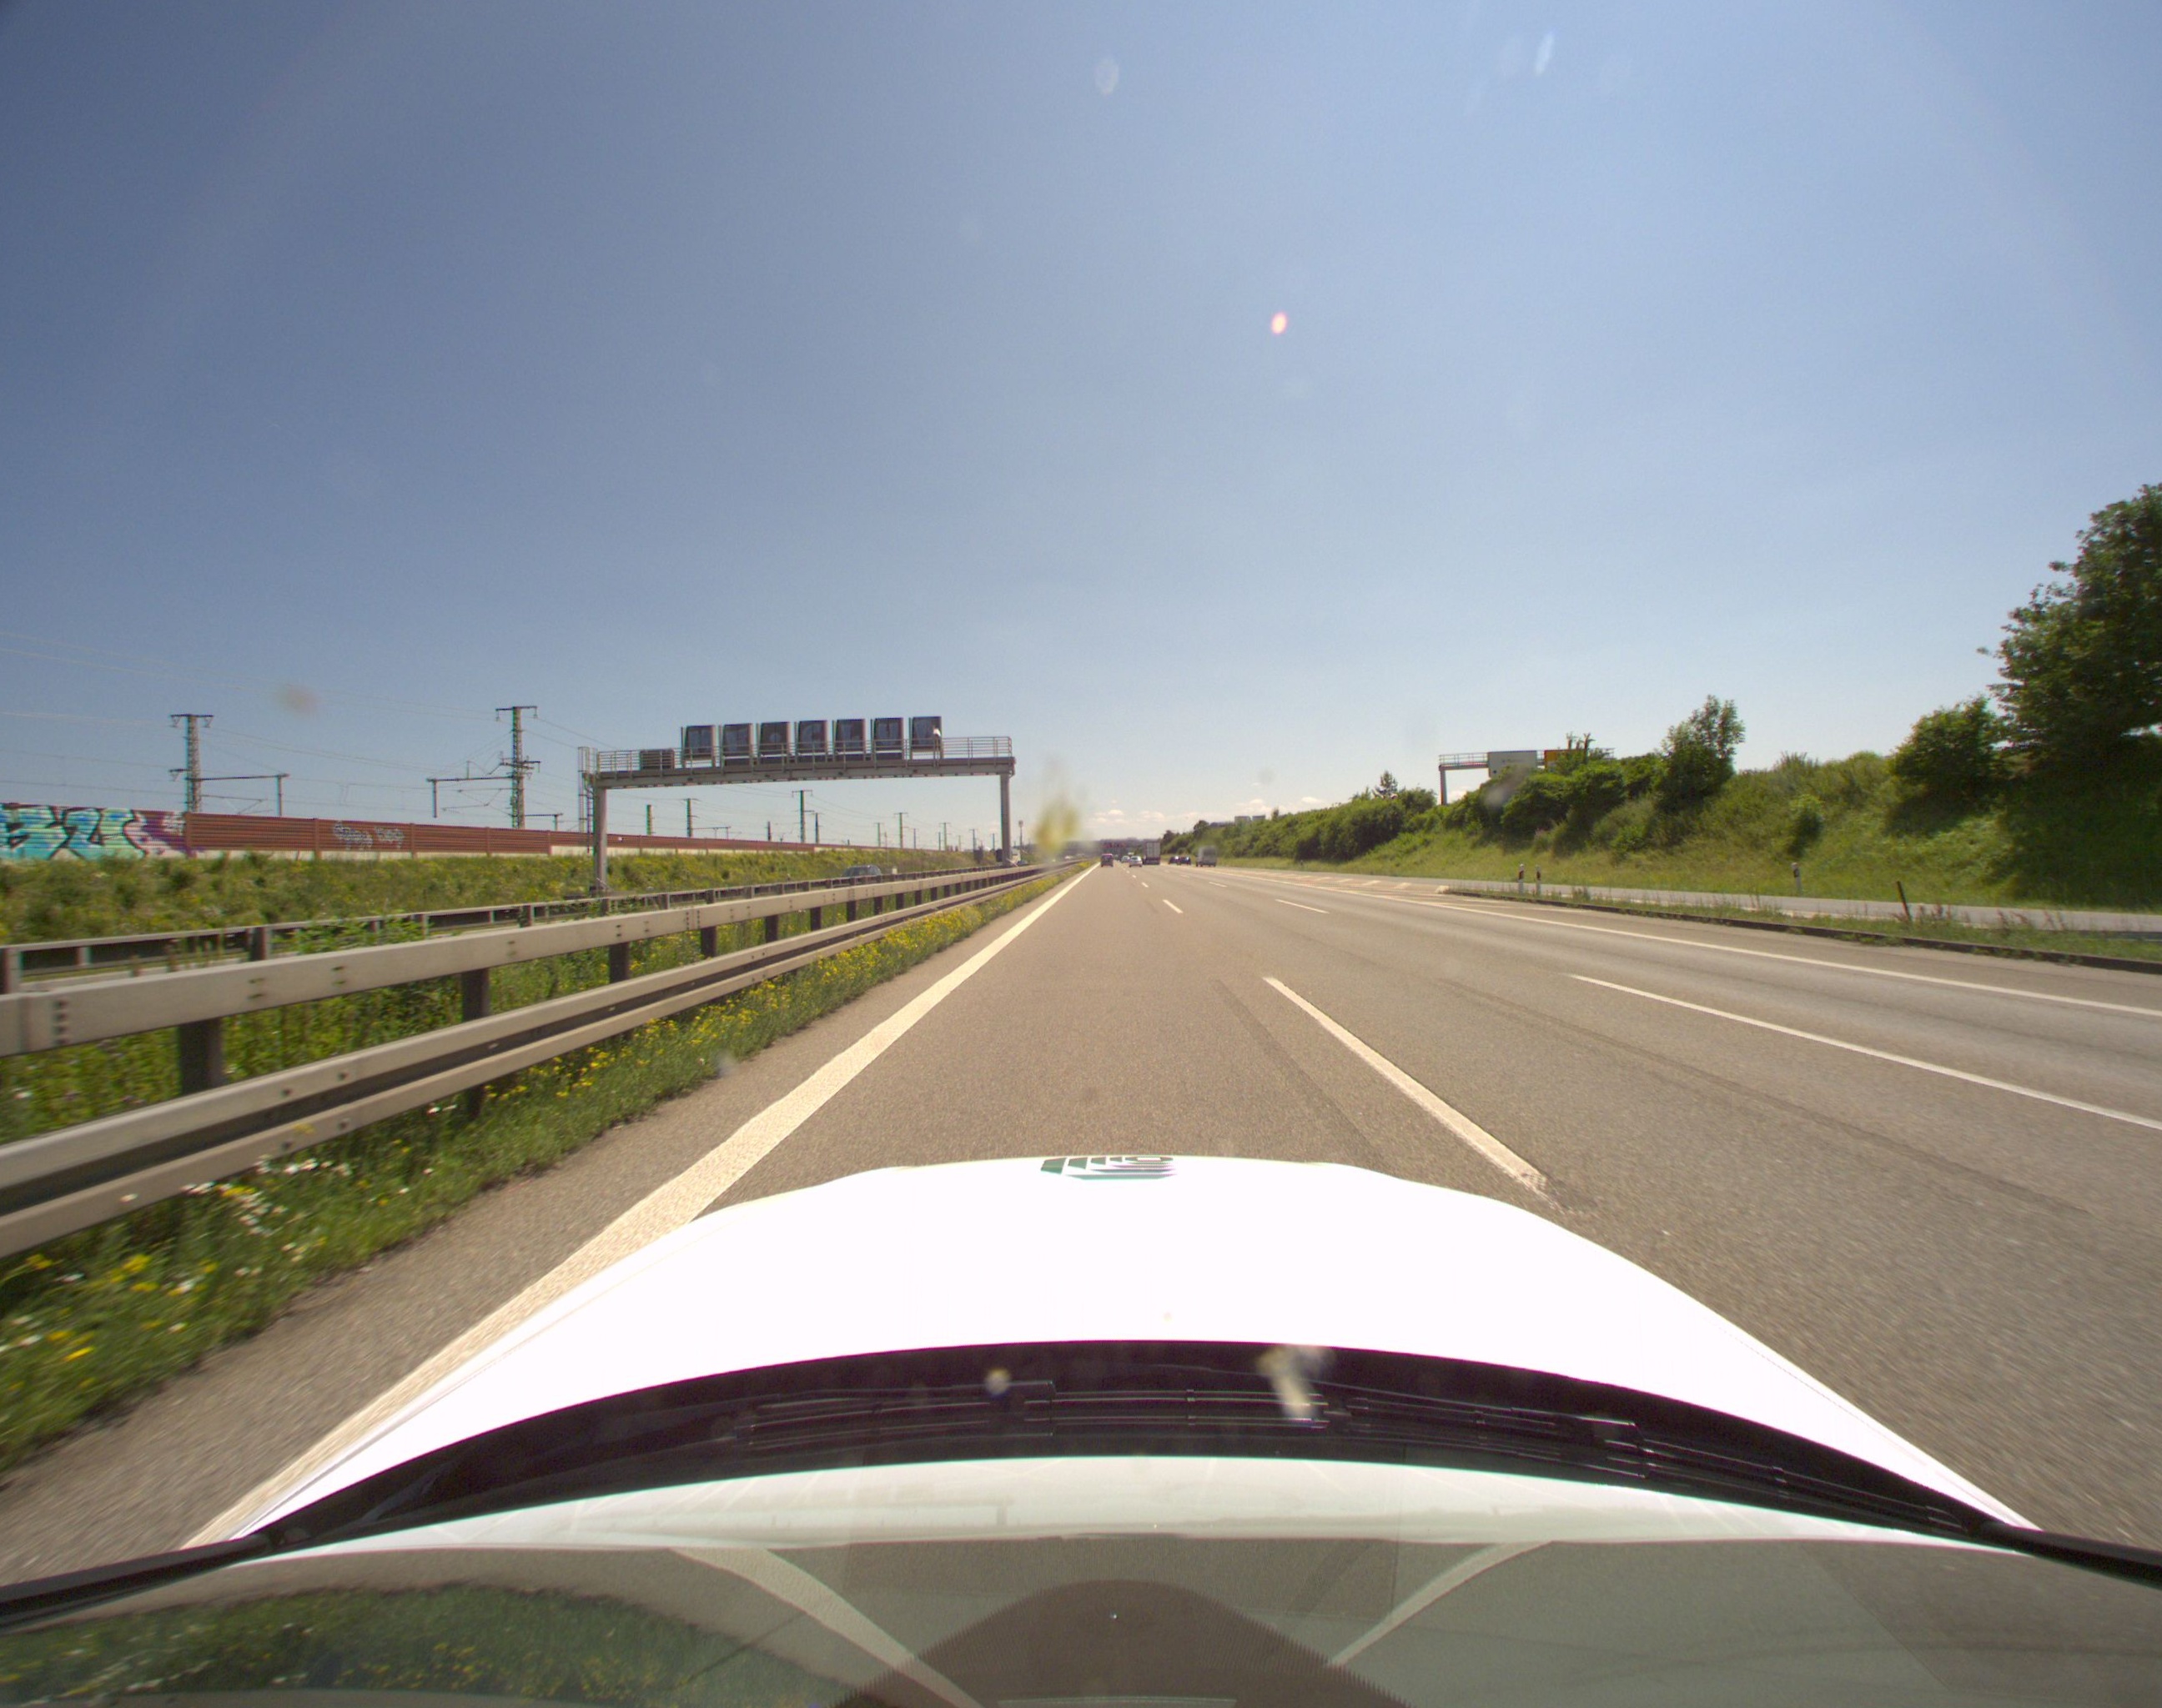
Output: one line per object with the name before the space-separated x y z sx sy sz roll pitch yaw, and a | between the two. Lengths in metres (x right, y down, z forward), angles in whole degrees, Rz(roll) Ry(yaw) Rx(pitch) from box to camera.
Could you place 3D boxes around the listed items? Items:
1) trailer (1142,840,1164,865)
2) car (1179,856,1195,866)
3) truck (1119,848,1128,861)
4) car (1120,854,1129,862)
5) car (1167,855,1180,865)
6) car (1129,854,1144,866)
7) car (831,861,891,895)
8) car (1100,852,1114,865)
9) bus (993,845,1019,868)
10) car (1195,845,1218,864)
trailer | 12.605 -0.197 142.737 3.165 4.059 9.444 -2 0 2
car | 16.718 1.058 128.393 1.987 1.508 3.998 0 -2 -1
truck | 11.608 0.050 222.242 2.346 3.416 6.060 -1 0 2
car | 9.616 0.896 178.819 1.873 1.526 4.003 -1 -1 3
car | 16.767 1.107 148.177 1.986 1.596 4.001 0 -2 1
car | 7.656 0.809 111.937 1.872 1.526 4.005 -1 -1 5
car | -11.131 1.186 41.512 1.797 1.574 4.002 -1 0 2
car | 3.750 0.661 116.411 1.873 1.775 4.002 -2 -1 2
bus | -12.053 0.380 131.631 2.846 3.645 10.945 0 0 2
car | 16.913 0.099 109.780 2.266 2.528 5.400 -1 0 1
